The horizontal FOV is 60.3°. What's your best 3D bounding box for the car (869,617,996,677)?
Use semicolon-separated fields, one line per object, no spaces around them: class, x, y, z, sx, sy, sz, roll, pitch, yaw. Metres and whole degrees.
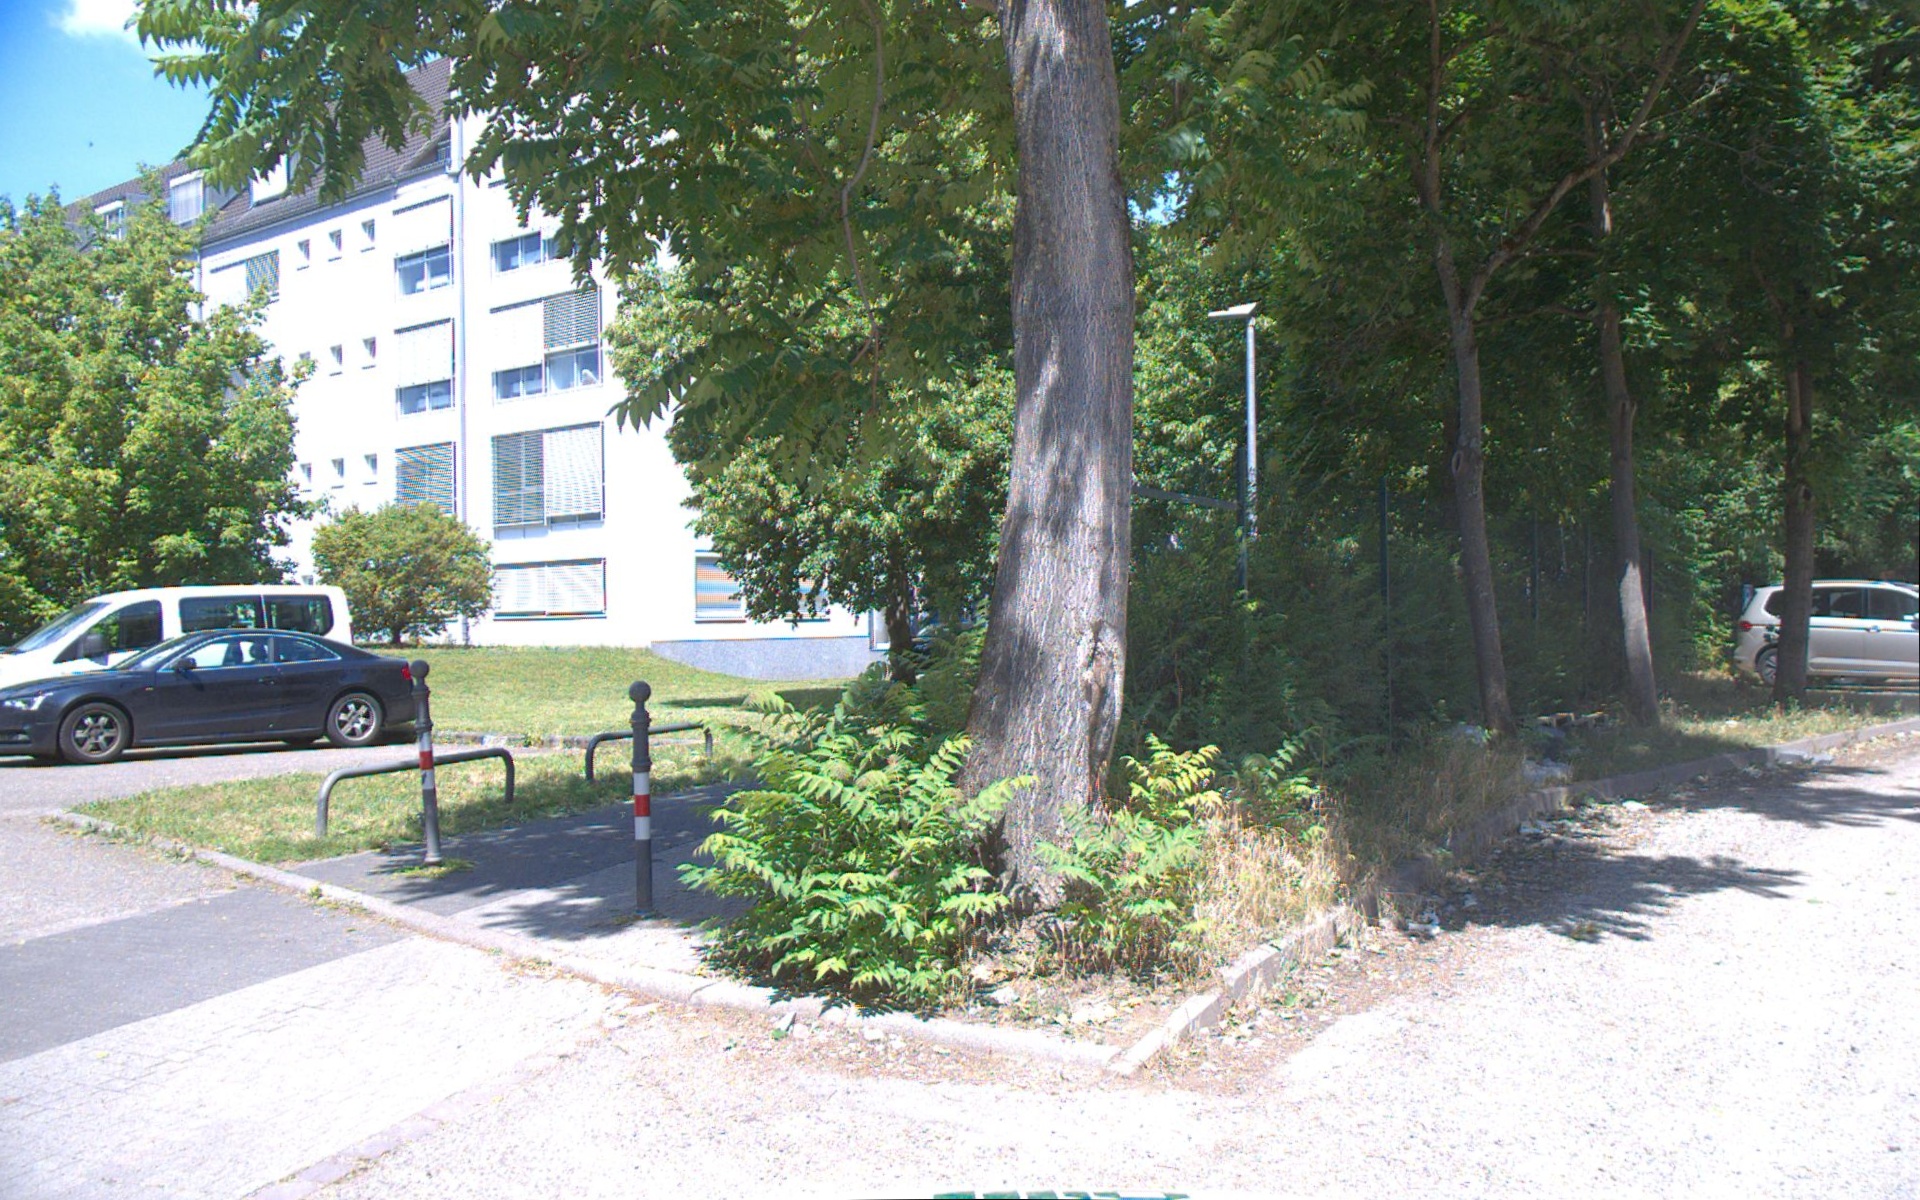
car;-0.777;1.354;48.519;1.645;1.649;3.603;-1;0;45

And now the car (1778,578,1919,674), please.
car;16.120;0.412;27.245;4.445;1.558;1.713;-1;0;45

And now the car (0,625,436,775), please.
car;-8.392;1.012;18.423;1.803;1.376;4.593;-1;0;45

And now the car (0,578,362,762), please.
car;-10.128;0.796;20.475;1.966;2.049;4.741;-2;-1;44

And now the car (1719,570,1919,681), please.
car;14.341;0.410;25.466;1.985;1.637;4.446;2;-2;-44

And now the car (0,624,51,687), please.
car;-24.737;1.412;40.528;1.773;1.504;3.974;-2;0;43
